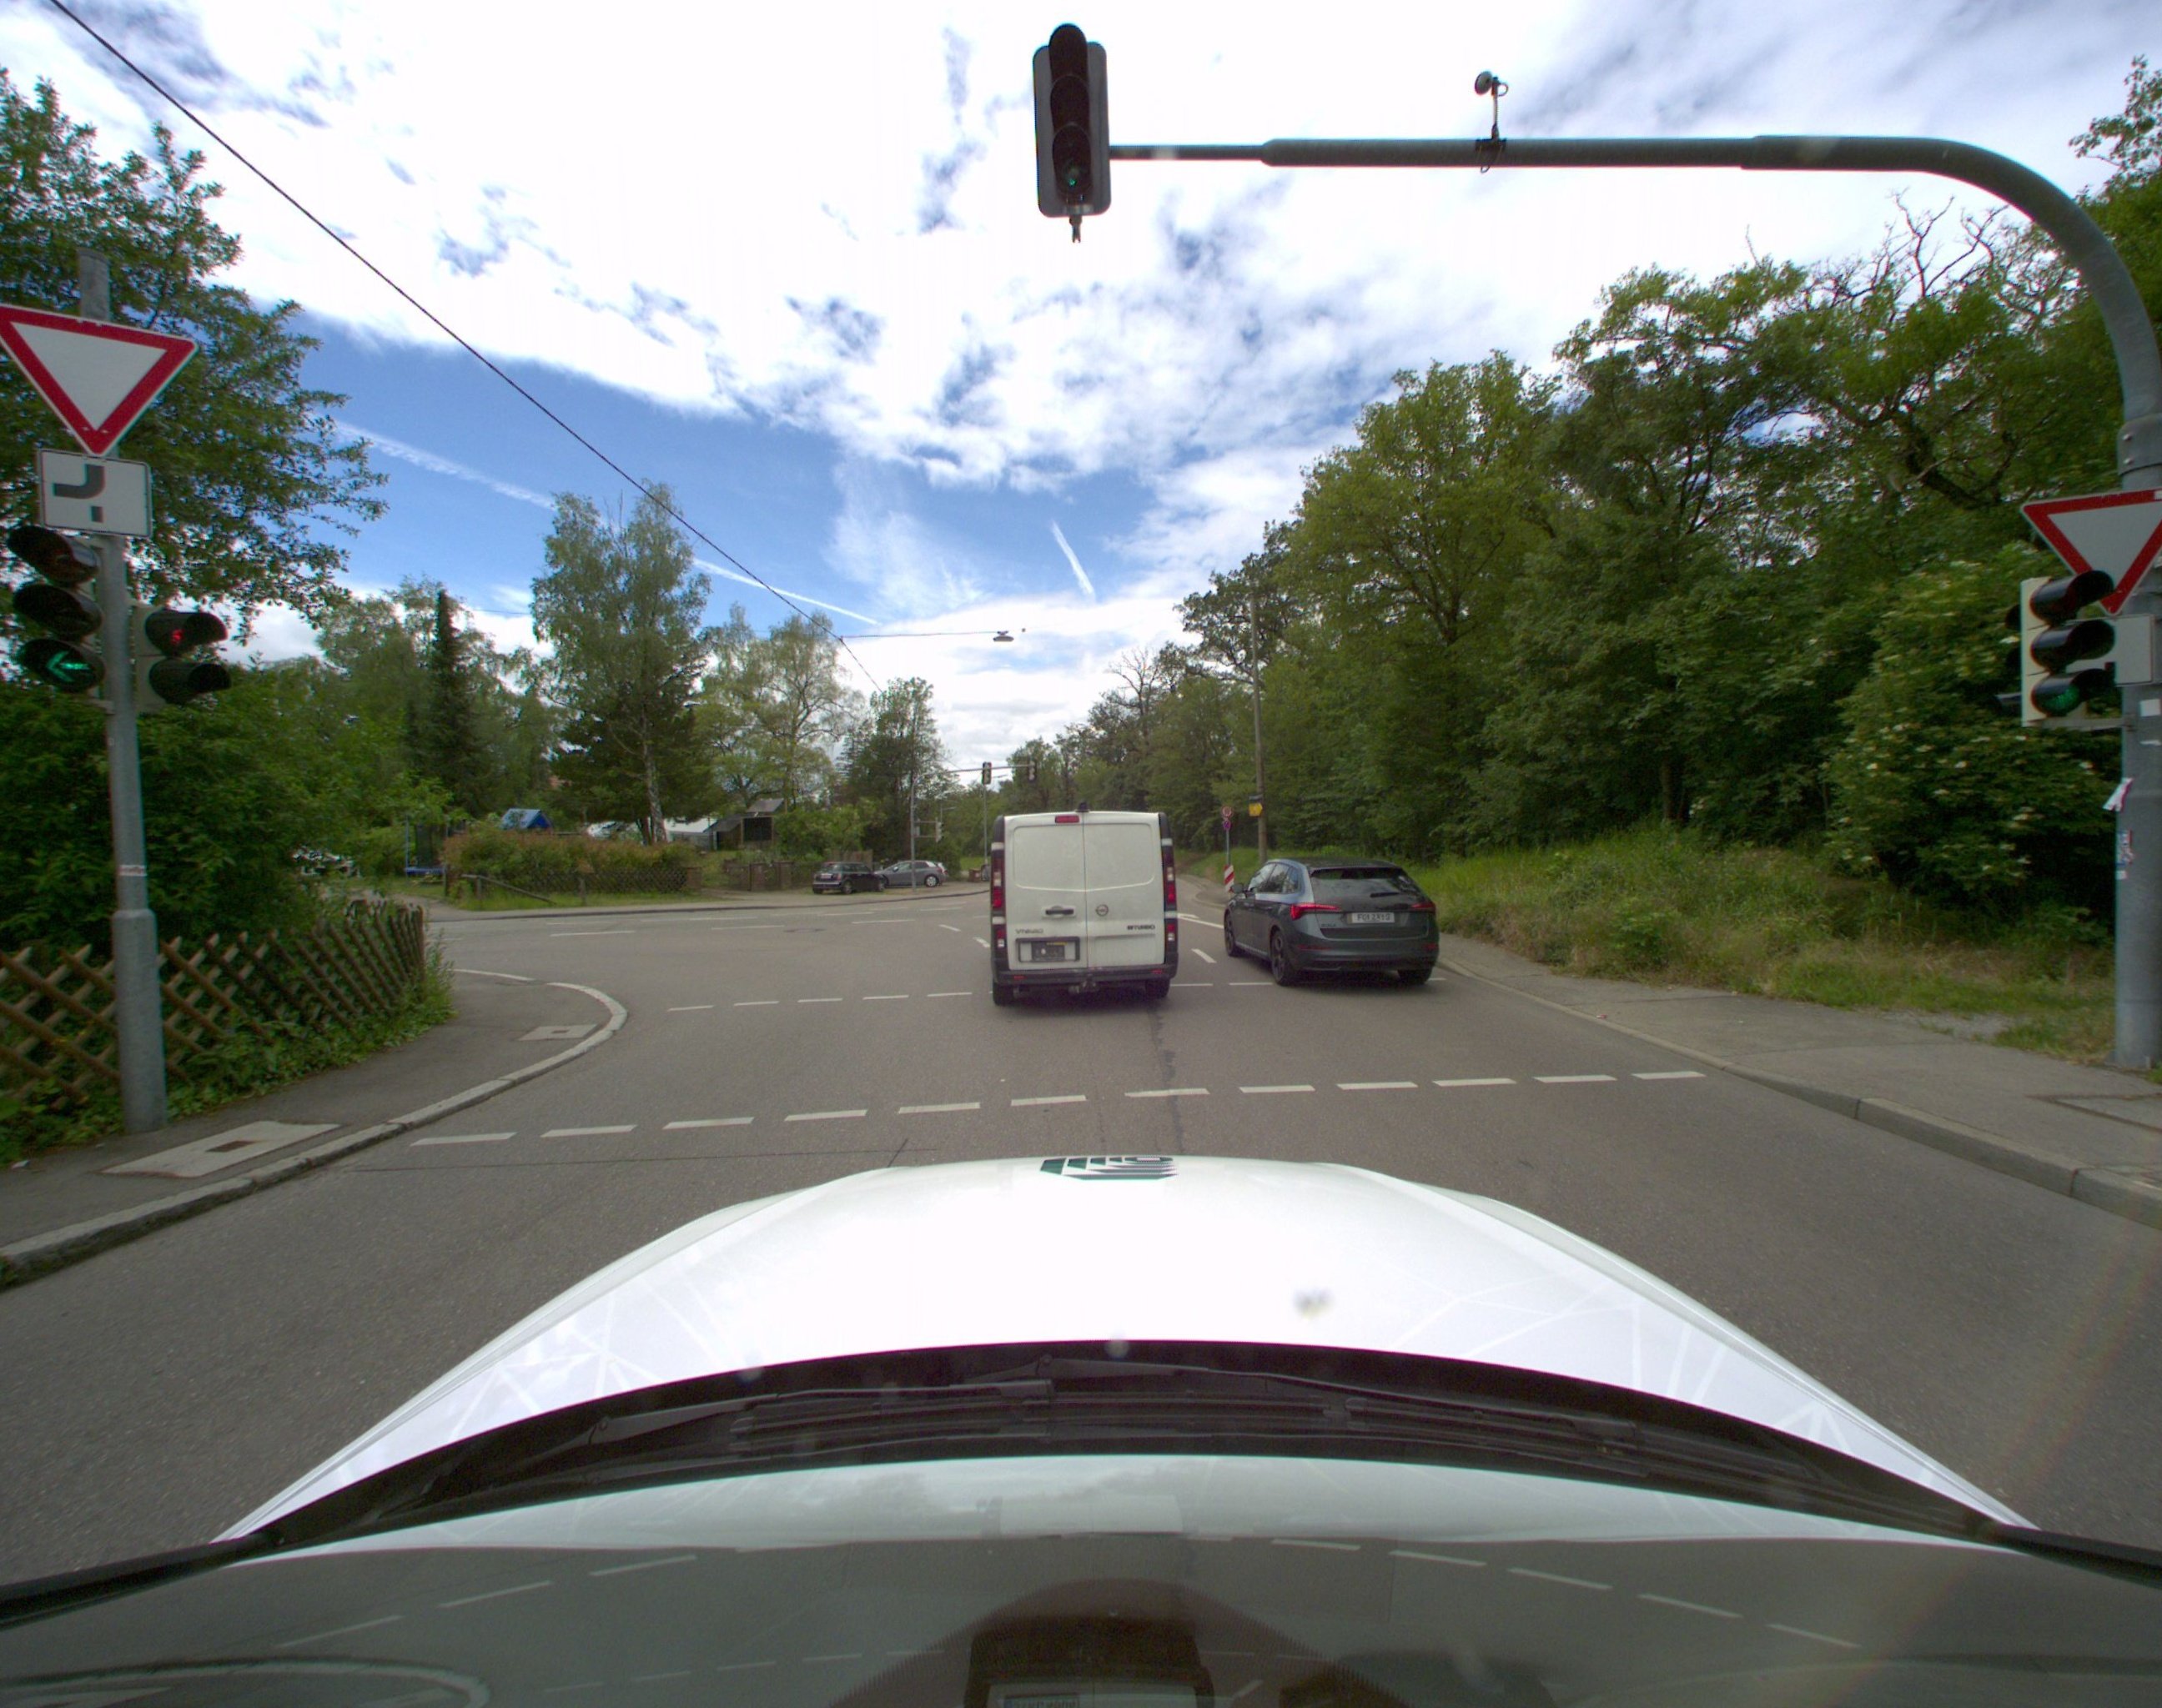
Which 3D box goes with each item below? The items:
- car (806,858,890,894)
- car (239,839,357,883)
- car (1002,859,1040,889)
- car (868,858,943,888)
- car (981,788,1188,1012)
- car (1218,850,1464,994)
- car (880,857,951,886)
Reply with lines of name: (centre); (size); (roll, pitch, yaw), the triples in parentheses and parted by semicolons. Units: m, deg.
car: (-10.206, 0.918, 35.949); (1.683, 1.449, 3.562); (1, 0, 22)
car: (-33.392, 0.285, 34.752); (4.290, 1.657, 2.012); (0, 3, 23)
car: (-3.162, 1.028, 43.771); (1.852, 1.507, 3.997); (-1, 0, -2)
car: (-9.947, 1.064, 46.118); (4.093, 1.553, 1.845); (-1, 1, -15)
car: (-0.139, 0.416, 9.970); (1.913, 2.053, 4.606); (-1, 0, -5)
car: (3.043, 0.699, 10.459); (1.788, 1.450, 3.998); (-1, 0, -1)
car: (-10.005, 1.028, 49.158); (4.093, 1.553, 1.845); (-1, 1, -15)
